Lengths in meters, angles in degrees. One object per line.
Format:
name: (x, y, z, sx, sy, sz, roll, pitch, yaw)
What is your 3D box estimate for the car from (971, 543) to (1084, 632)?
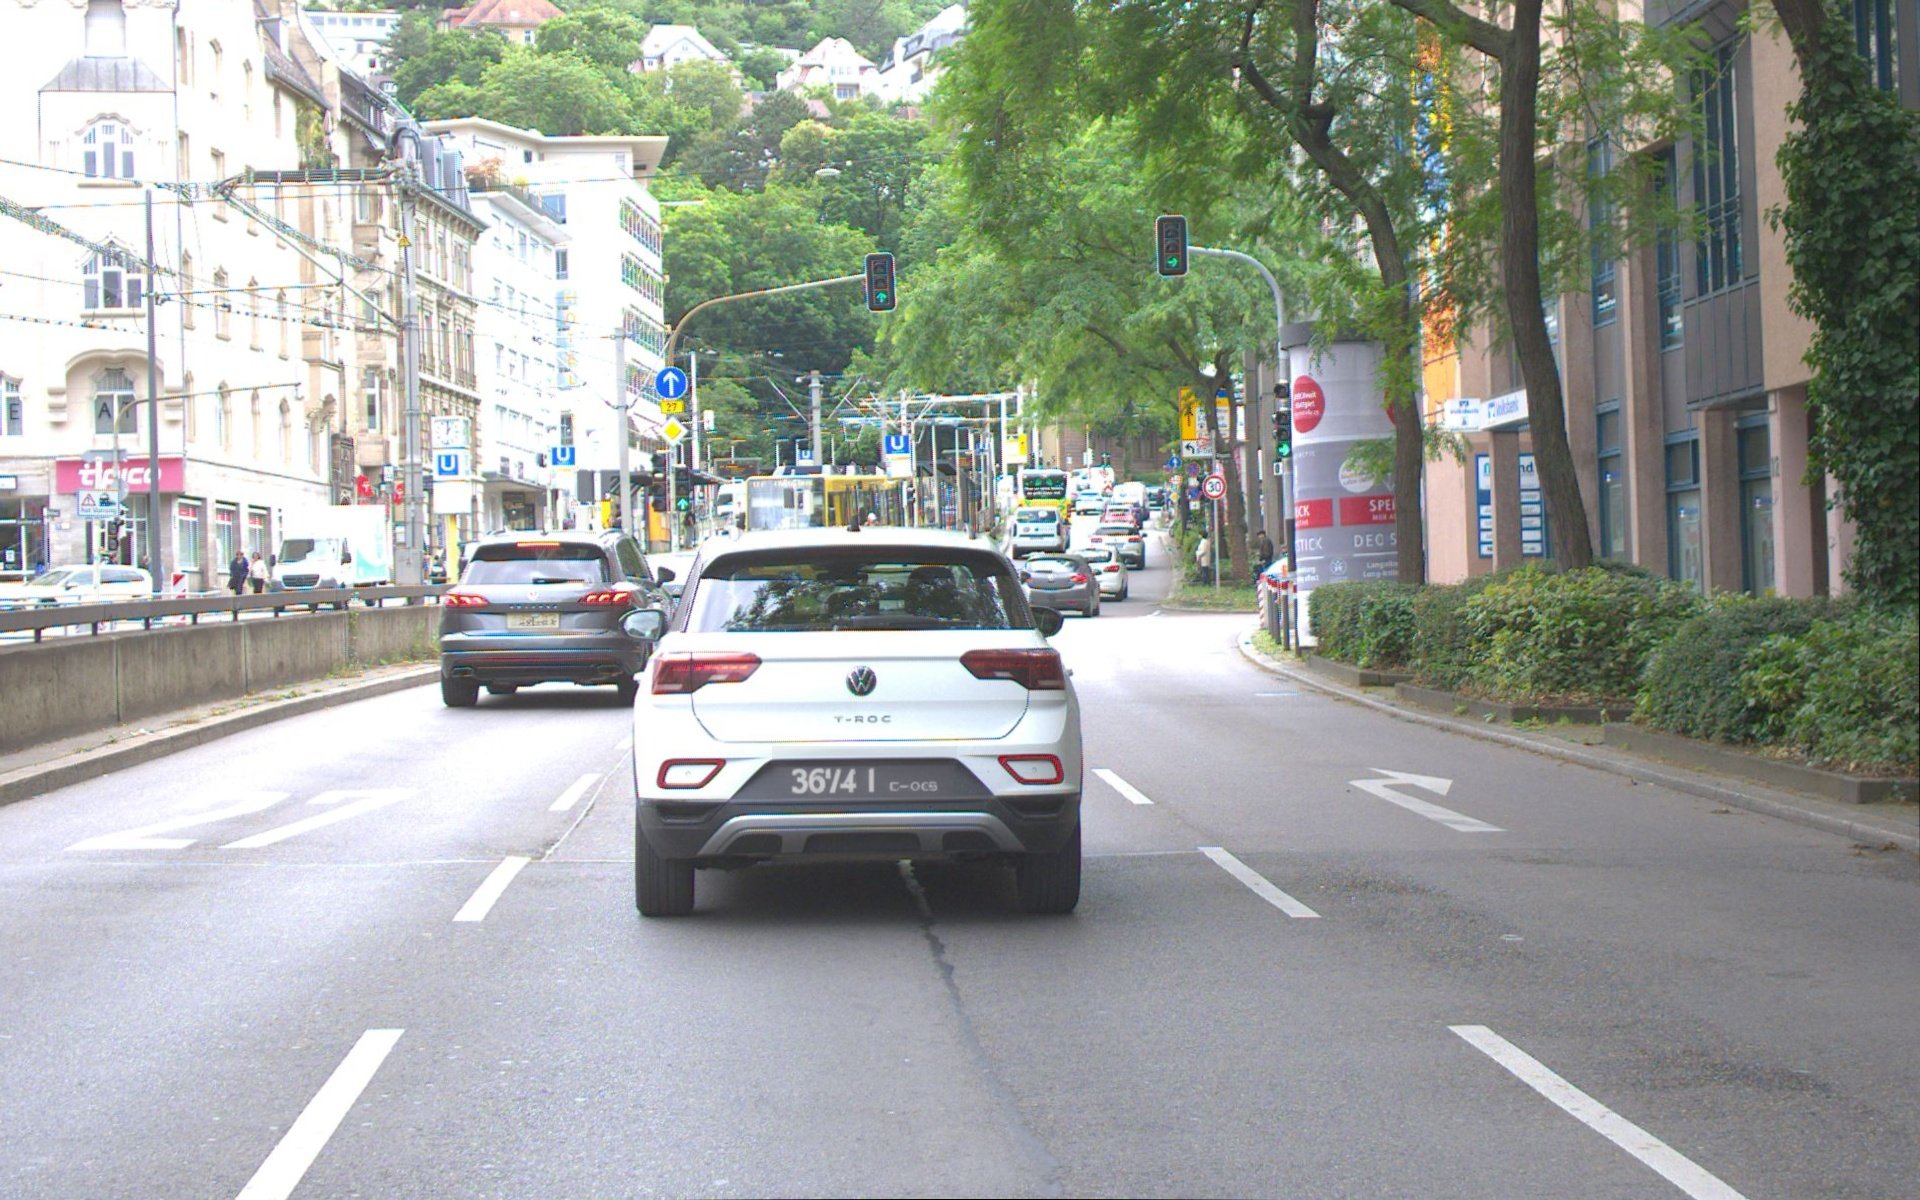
car: (1.604, -0.309, 79.460, 2.365, 2.007, 5.147, 0, 1, 4)

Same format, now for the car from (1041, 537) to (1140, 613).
car: (3.489, -0.693, 93.111, 2.364, 2.007, 5.148, 0, 1, -1)

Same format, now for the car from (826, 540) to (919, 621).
car: (-1.907, -0.433, 74.041, 1.884, 1.678, 4.162, 0, 1, -3)

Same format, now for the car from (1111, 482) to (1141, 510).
car: (9.365, -5.860, 193.977, 1.673, 1.555, 3.678, 0, 1, 3)

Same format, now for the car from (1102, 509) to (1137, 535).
car: (7.512, -3.649, 161.422, 1.582, 1.168, 3.678, 0, 1, 3)

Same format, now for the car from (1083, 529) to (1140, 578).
car: (5.289, -1.615, 119.925, 1.885, 1.678, 4.161, 0, 1, 4)

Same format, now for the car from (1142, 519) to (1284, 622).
car: (5.050, -0.597, 69.372, 2.364, 2.007, 5.148, 0, 1, -1)

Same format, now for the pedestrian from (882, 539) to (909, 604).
pedestrian: (-1.738, -0.775, 92.807, 0.635, 1.705, 0.871, -1, 2, 4)

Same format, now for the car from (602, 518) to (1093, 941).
car: (-0.526, 0.461, 14.948, 1.837, 1.578, 4.157, 0, 1, -3)

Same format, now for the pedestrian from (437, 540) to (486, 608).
pedestrian: (-12.557, -0.664, 86.635, 0.876, 1.699, 0.811, 0, 1, 33)

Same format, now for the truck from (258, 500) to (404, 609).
truck: (-18.366, -1.331, 100.785, 2.267, 3.066, 7.373, 0, 1, 6)

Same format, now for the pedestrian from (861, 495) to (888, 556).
pedestrian: (-2.445, -2.132, 98.194, 0.685, 1.705, 0.712, -1, 2, 4)

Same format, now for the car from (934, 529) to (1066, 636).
car: (0.608, -0.294, 55.870, 1.884, 1.678, 4.162, 0, 1, -3)

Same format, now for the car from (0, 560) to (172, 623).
car: (-22.367, -0.235, 87.070, 1.753, 1.555, 4.503, 0, 1, 43)

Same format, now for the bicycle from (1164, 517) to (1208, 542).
bicycle: (10.046, -3.125, 152.701, 1.881, 1.133, 0.808, 0, 0, 10)

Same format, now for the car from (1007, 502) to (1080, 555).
car: (3.284, -2.773, 134.386, 2.365, 2.007, 5.147, 0, 1, 7)

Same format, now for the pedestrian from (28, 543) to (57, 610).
pedestrian: (-24.400, -0.632, 91.419, 0.575, 1.773, 0.511, -1, 1, 9)

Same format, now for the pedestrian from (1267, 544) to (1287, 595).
pedestrian: (8.403, -0.811, 91.138, 0.471, 1.329, 0.520, 0, 0, 0)

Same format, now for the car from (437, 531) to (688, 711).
car: (-3.811, 0.156, 33.596, 1.993, 1.630, 4.000, -1, 1, 0)

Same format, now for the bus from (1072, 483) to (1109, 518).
bus: (7.727, -5.889, 203.820, 1.993, 2.007, 4.000, 0, 1, -1)

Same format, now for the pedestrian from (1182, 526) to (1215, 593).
pedestrian: (6.479, -1.106, 93.473, 0.693, 1.771, 0.689, -6, 1, 0)

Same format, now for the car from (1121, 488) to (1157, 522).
car: (10.957, -5.809, 210.920, 1.993, 2.007, 4.000, 0, 1, 0)

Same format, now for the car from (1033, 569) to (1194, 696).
car: (1.908, 0.373, 43.661, 1.944, 1.525, 4.000, 0, 1, 1)

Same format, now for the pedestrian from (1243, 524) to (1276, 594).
pedestrian: (8.018, -1.104, 92.112, 0.721, 1.796, 0.834, -3, 3, 0)

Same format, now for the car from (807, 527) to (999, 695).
car: (-0.658, 0.088, 36.451, 1.884, 1.678, 4.162, 0, 1, -3)

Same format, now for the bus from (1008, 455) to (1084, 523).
bus: (4.343, -5.441, 170.662, 3.372, 3.054, 13.323, 0, 1, 3)

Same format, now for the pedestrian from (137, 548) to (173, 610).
pedestrian: (-22.142, -0.575, 94.590, 0.674, 1.671, 0.690, -1, 1, 21)

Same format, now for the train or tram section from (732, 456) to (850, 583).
train or tram section: (-4.987, -2.395, 102.354, 2.835, 3.666, 5.751, 0, 2, 4)

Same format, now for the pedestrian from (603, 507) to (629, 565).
pedestrian: (-10.572, -1.970, 105.650, 0.627, 1.756, 0.846, -1, 1, 5)
